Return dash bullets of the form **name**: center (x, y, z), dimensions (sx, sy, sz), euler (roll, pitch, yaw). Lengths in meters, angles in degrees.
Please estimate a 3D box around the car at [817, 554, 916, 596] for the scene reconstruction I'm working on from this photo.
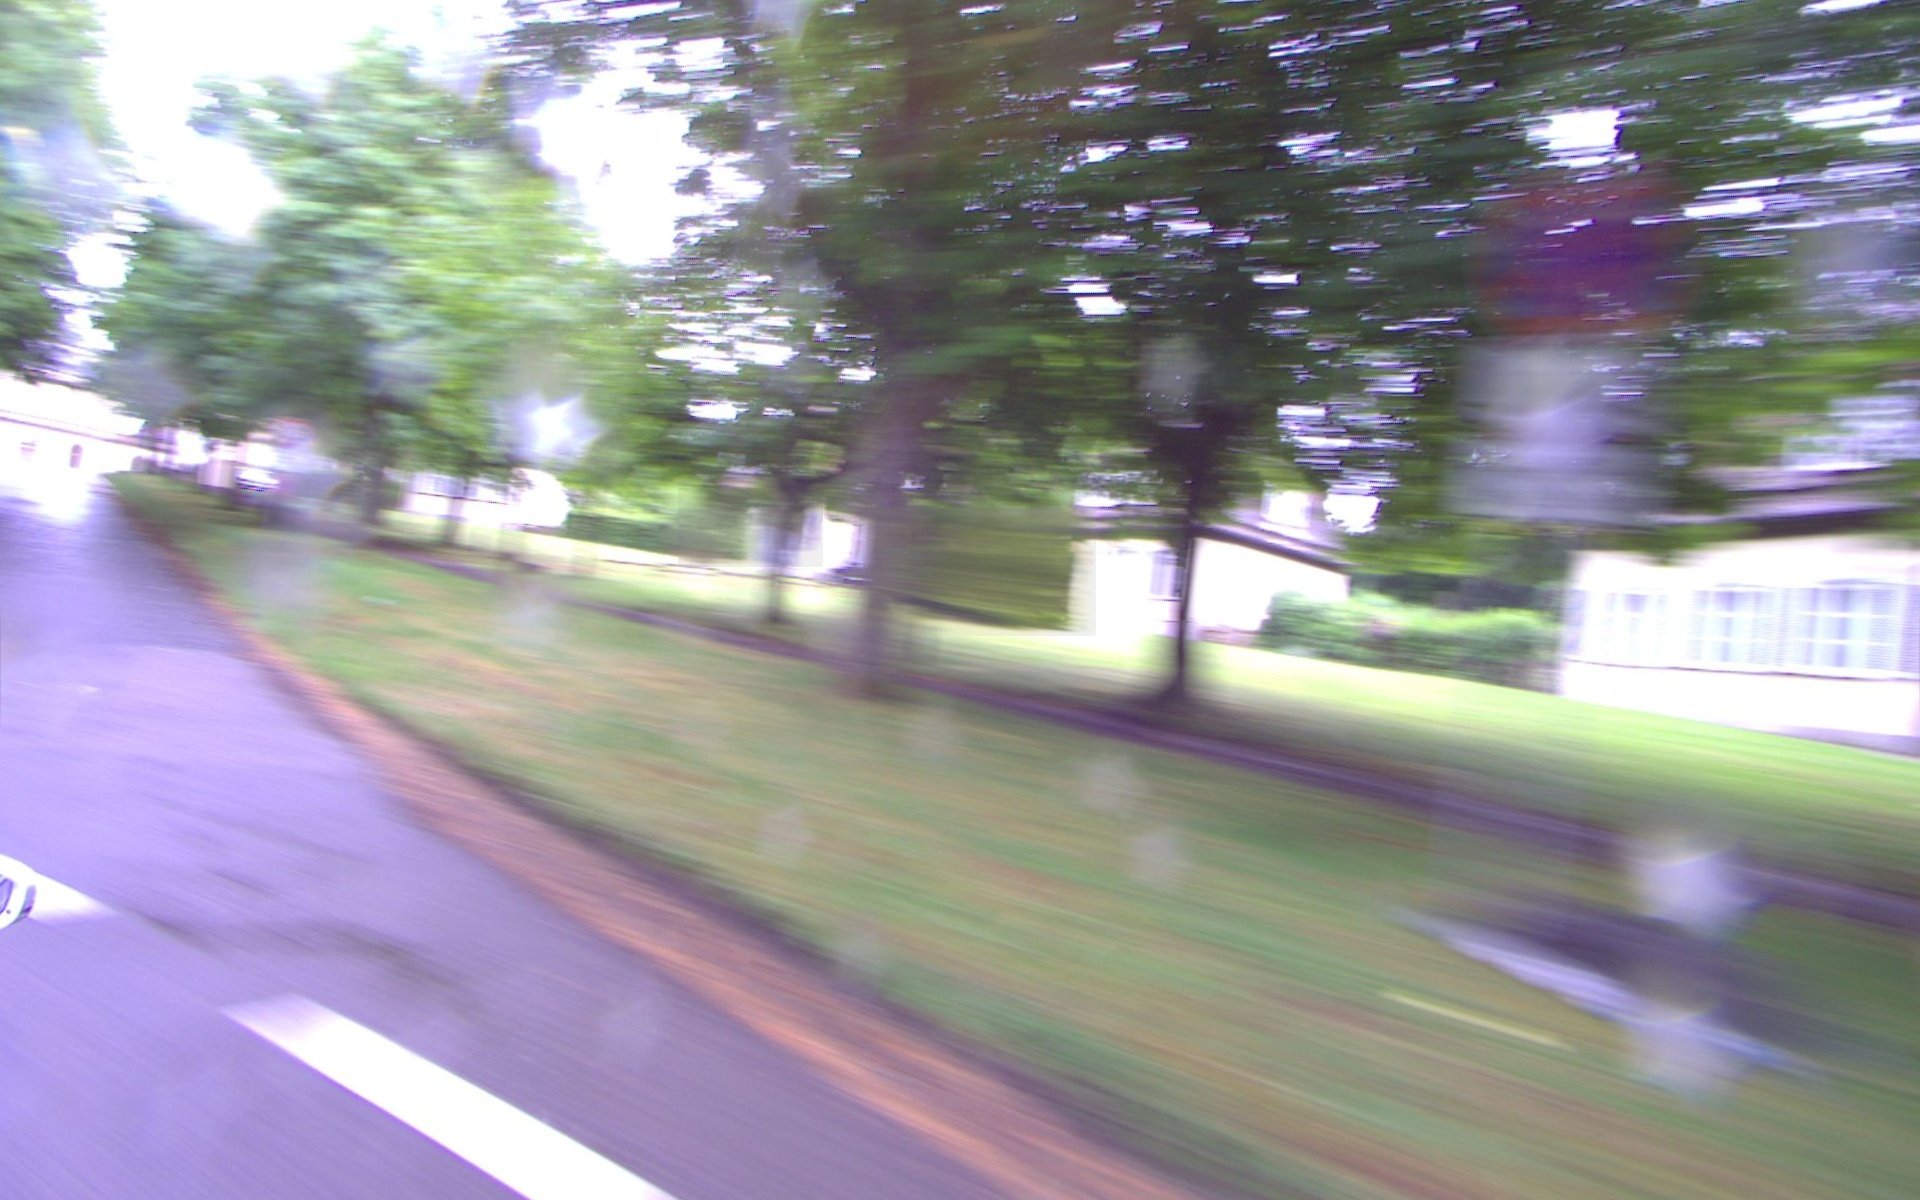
- **car**: center (-4.441, -1.191, 47.431), dimensions (4.441, 1.528, 1.990), euler (8, 3, 39)
